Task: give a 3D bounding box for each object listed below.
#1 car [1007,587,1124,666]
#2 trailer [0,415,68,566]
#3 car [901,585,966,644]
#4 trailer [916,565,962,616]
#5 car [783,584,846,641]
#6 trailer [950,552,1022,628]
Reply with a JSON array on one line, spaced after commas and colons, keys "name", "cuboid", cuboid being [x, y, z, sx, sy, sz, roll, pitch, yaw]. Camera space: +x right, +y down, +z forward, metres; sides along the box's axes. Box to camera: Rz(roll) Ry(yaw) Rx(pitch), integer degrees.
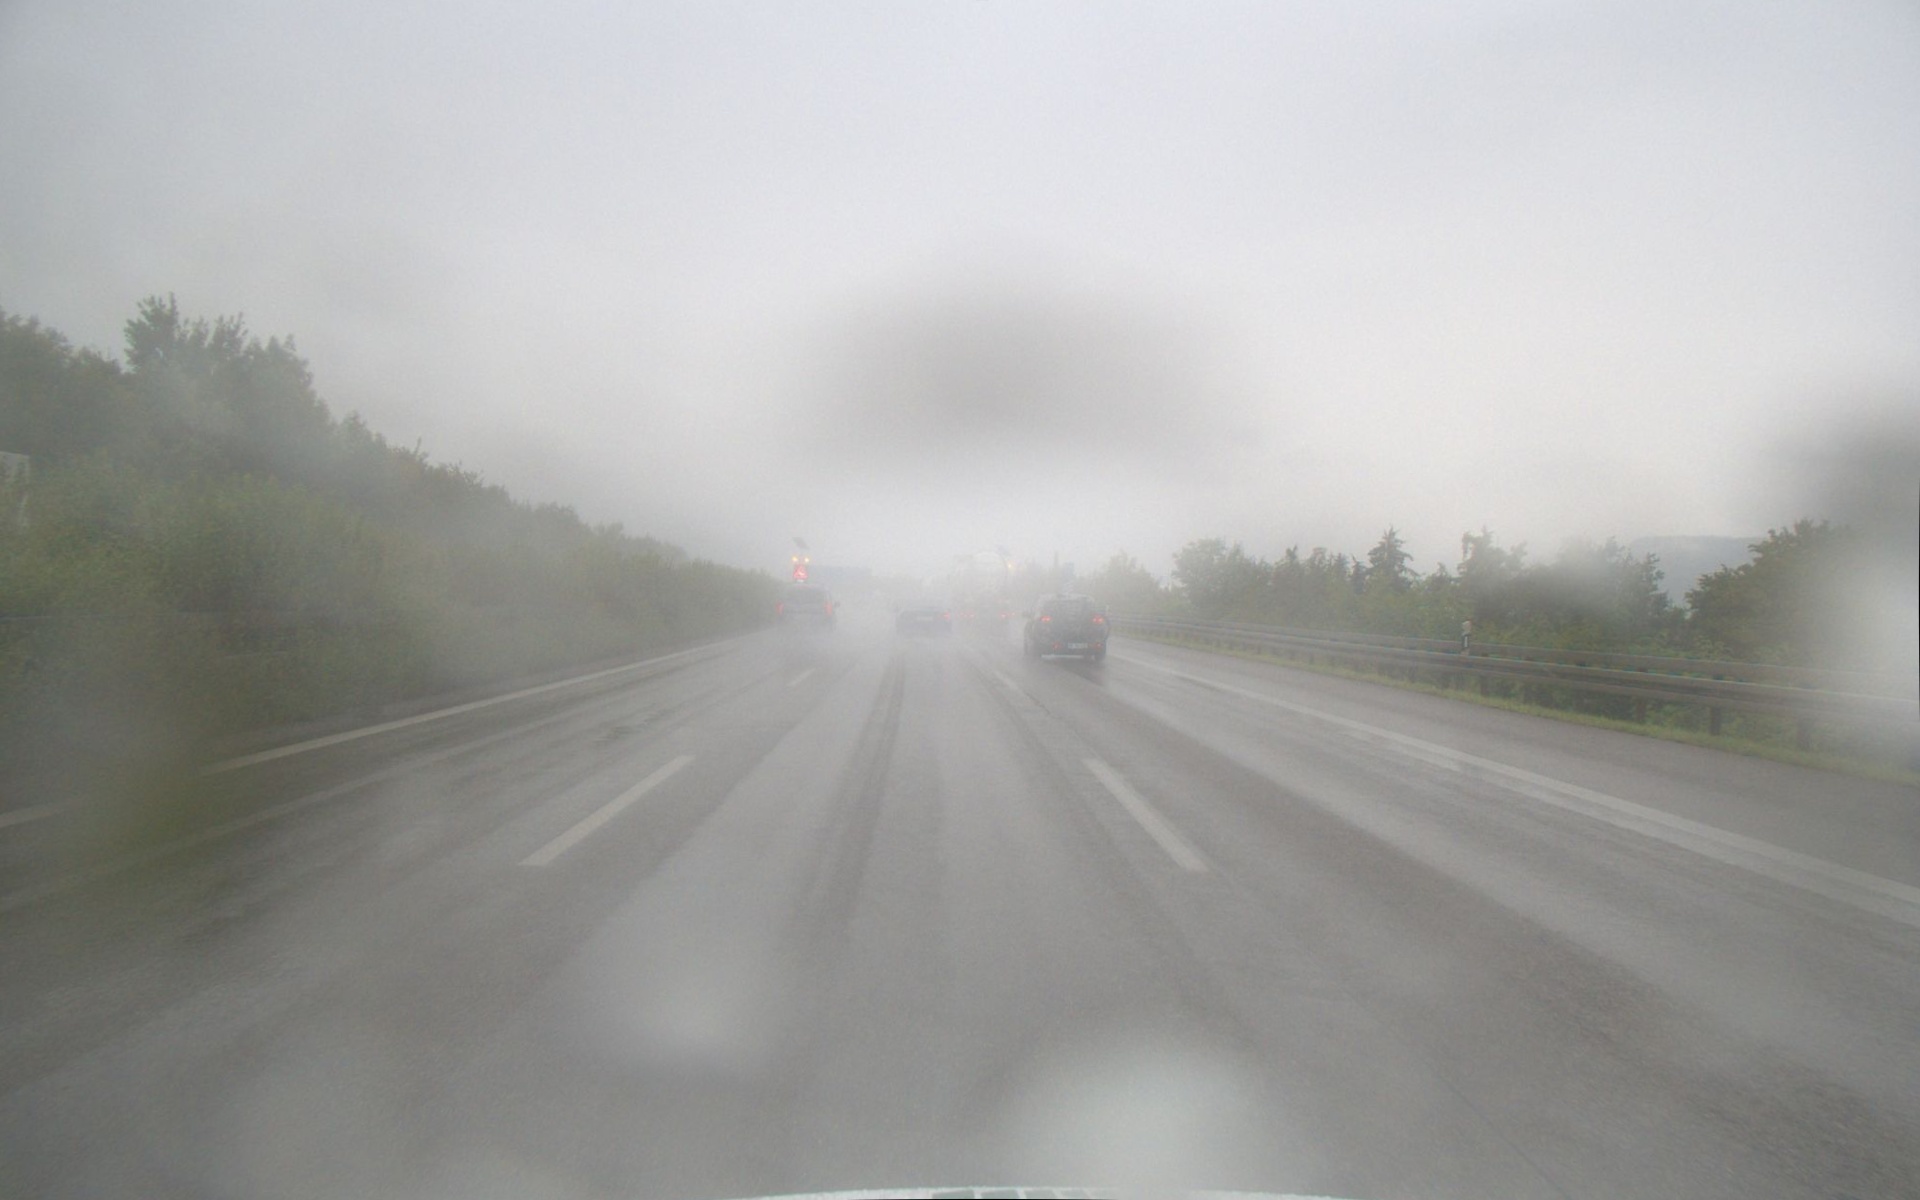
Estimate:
[{"name": "car", "cuboid": [2.513, 0.611, 40.922, 2.408, 1.776, 5.717, 1, 0, -1]}, {"name": "trailer", "cuboid": [-16.964, -1.844, 26.129, 2.225, 2.470, 6.646, 1, 0, -1]}, {"name": "car", "cuboid": [-0.891, 0.434, 52.922, 1.939, 1.787, 4.479, 1, 0, -3]}, {"name": "trailer", "cuboid": [-1.755, -0.804, 132.467, 2.946, 3.914, 8.615, 2, 1, -5]}, {"name": "car", "cuboid": [-4.750, 0.381, 54.422, 1.887, 1.771, 4.401, 1, 0, -3]}, {"name": "trailer", "cuboid": [1.252, -0.506, 87.615, 3.124, 3.734, 11.661, 1, 0, -2]}]
